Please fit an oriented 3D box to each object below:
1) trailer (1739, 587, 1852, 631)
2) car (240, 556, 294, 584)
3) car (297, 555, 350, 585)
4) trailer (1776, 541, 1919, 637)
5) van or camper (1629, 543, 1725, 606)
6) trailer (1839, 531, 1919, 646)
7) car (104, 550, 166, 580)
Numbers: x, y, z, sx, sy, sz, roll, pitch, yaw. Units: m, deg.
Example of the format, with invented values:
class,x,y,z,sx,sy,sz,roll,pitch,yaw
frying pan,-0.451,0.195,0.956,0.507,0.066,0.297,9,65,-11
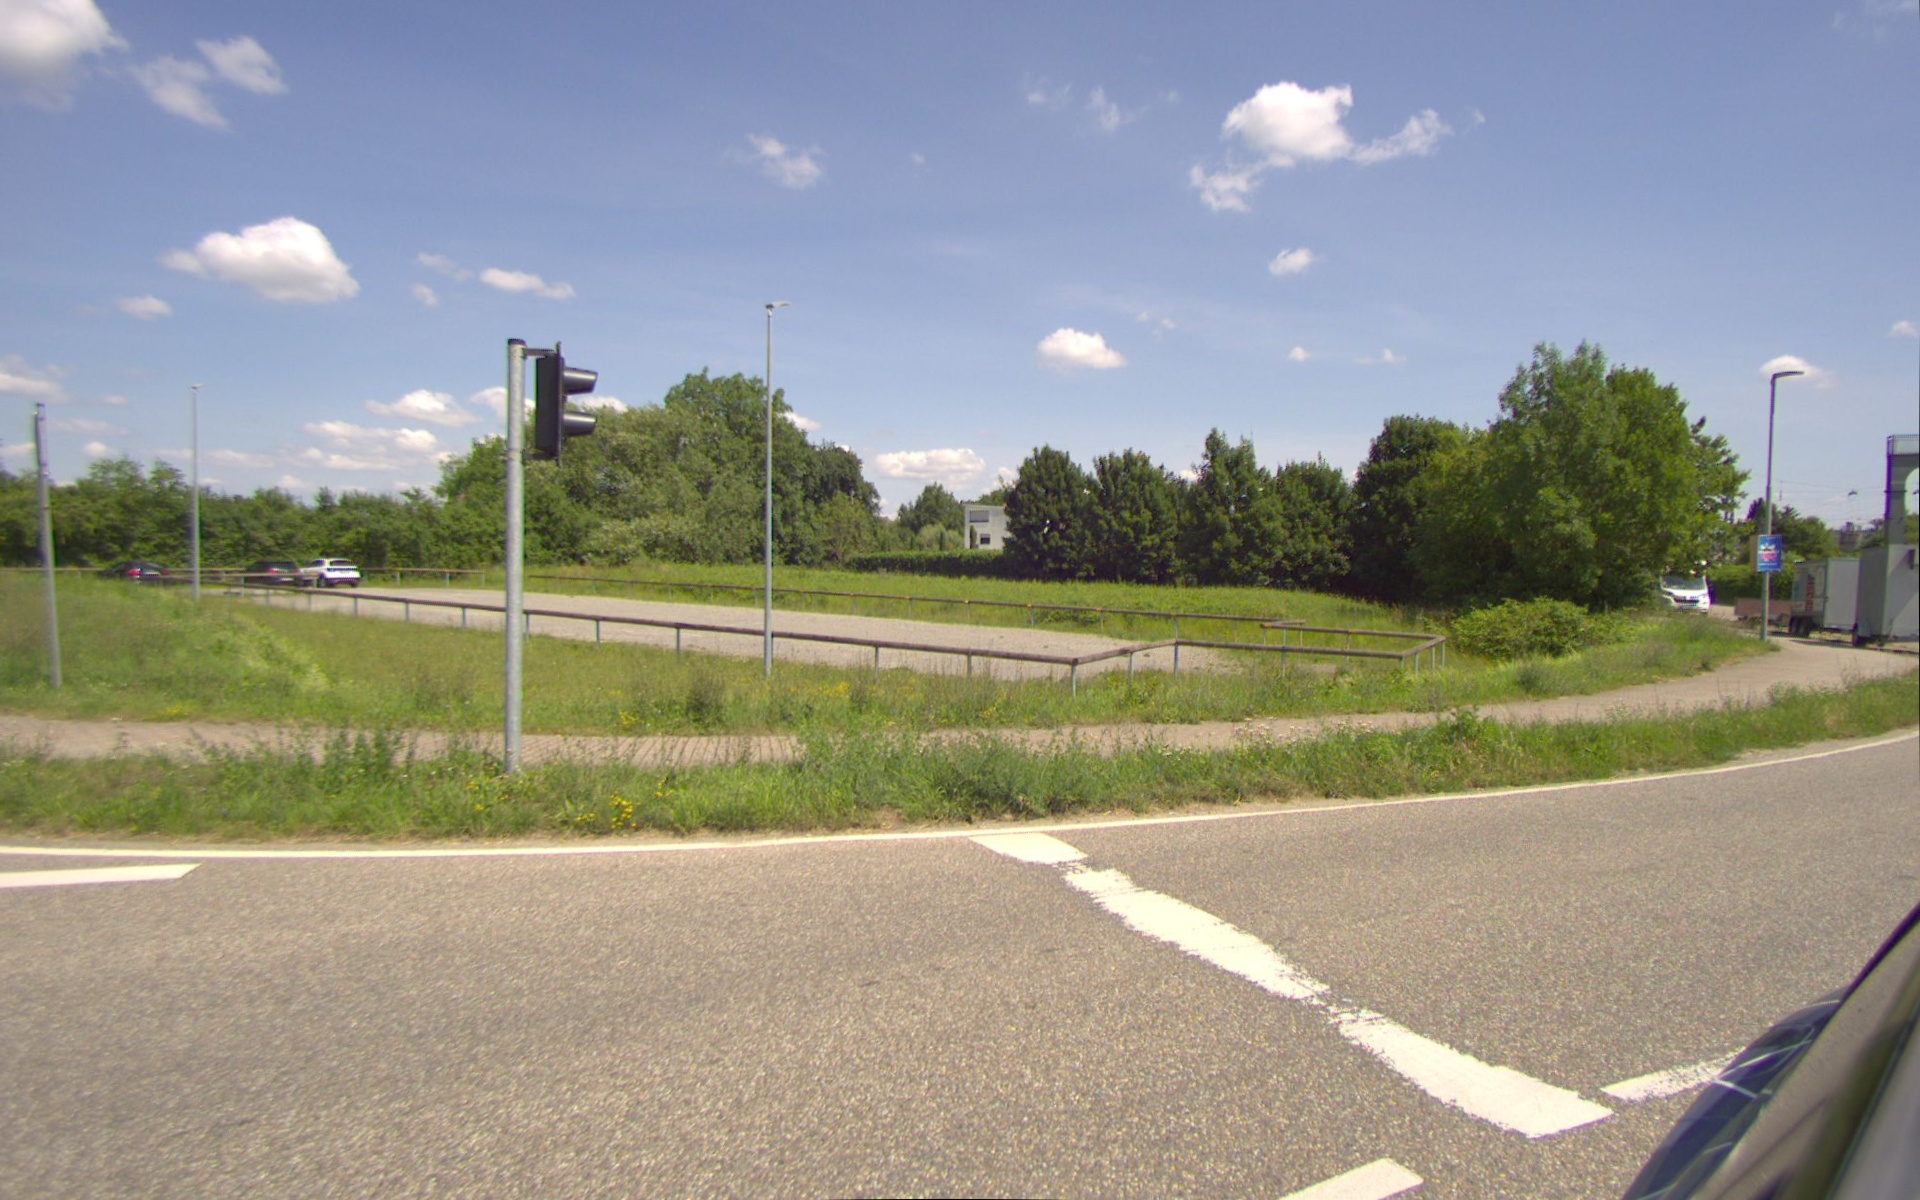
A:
class,x,y,z,sx,sy,sz,roll,pitch,yaw
trailer,28.221,0.245,34.354,1.993,1.136,4.447,5,4,27
car,-35.320,-1.527,51.557,3.101,1.354,1.400,1,2,38
car,-33.982,-1.588,54.051,3.101,1.523,1.400,1,2,38
trailer,26.499,-0.371,30.358,1.906,2.538,4.700,4,3,25
van or camper,35.830,-1.303,50.872,2.422,2.861,7.560,3,3,25
trailer,24.303,-0.266,25.664,1.924,2.676,5.127,5,3,30
car,-38.691,-1.633,47.448,3.097,1.354,1.401,0,2,35
